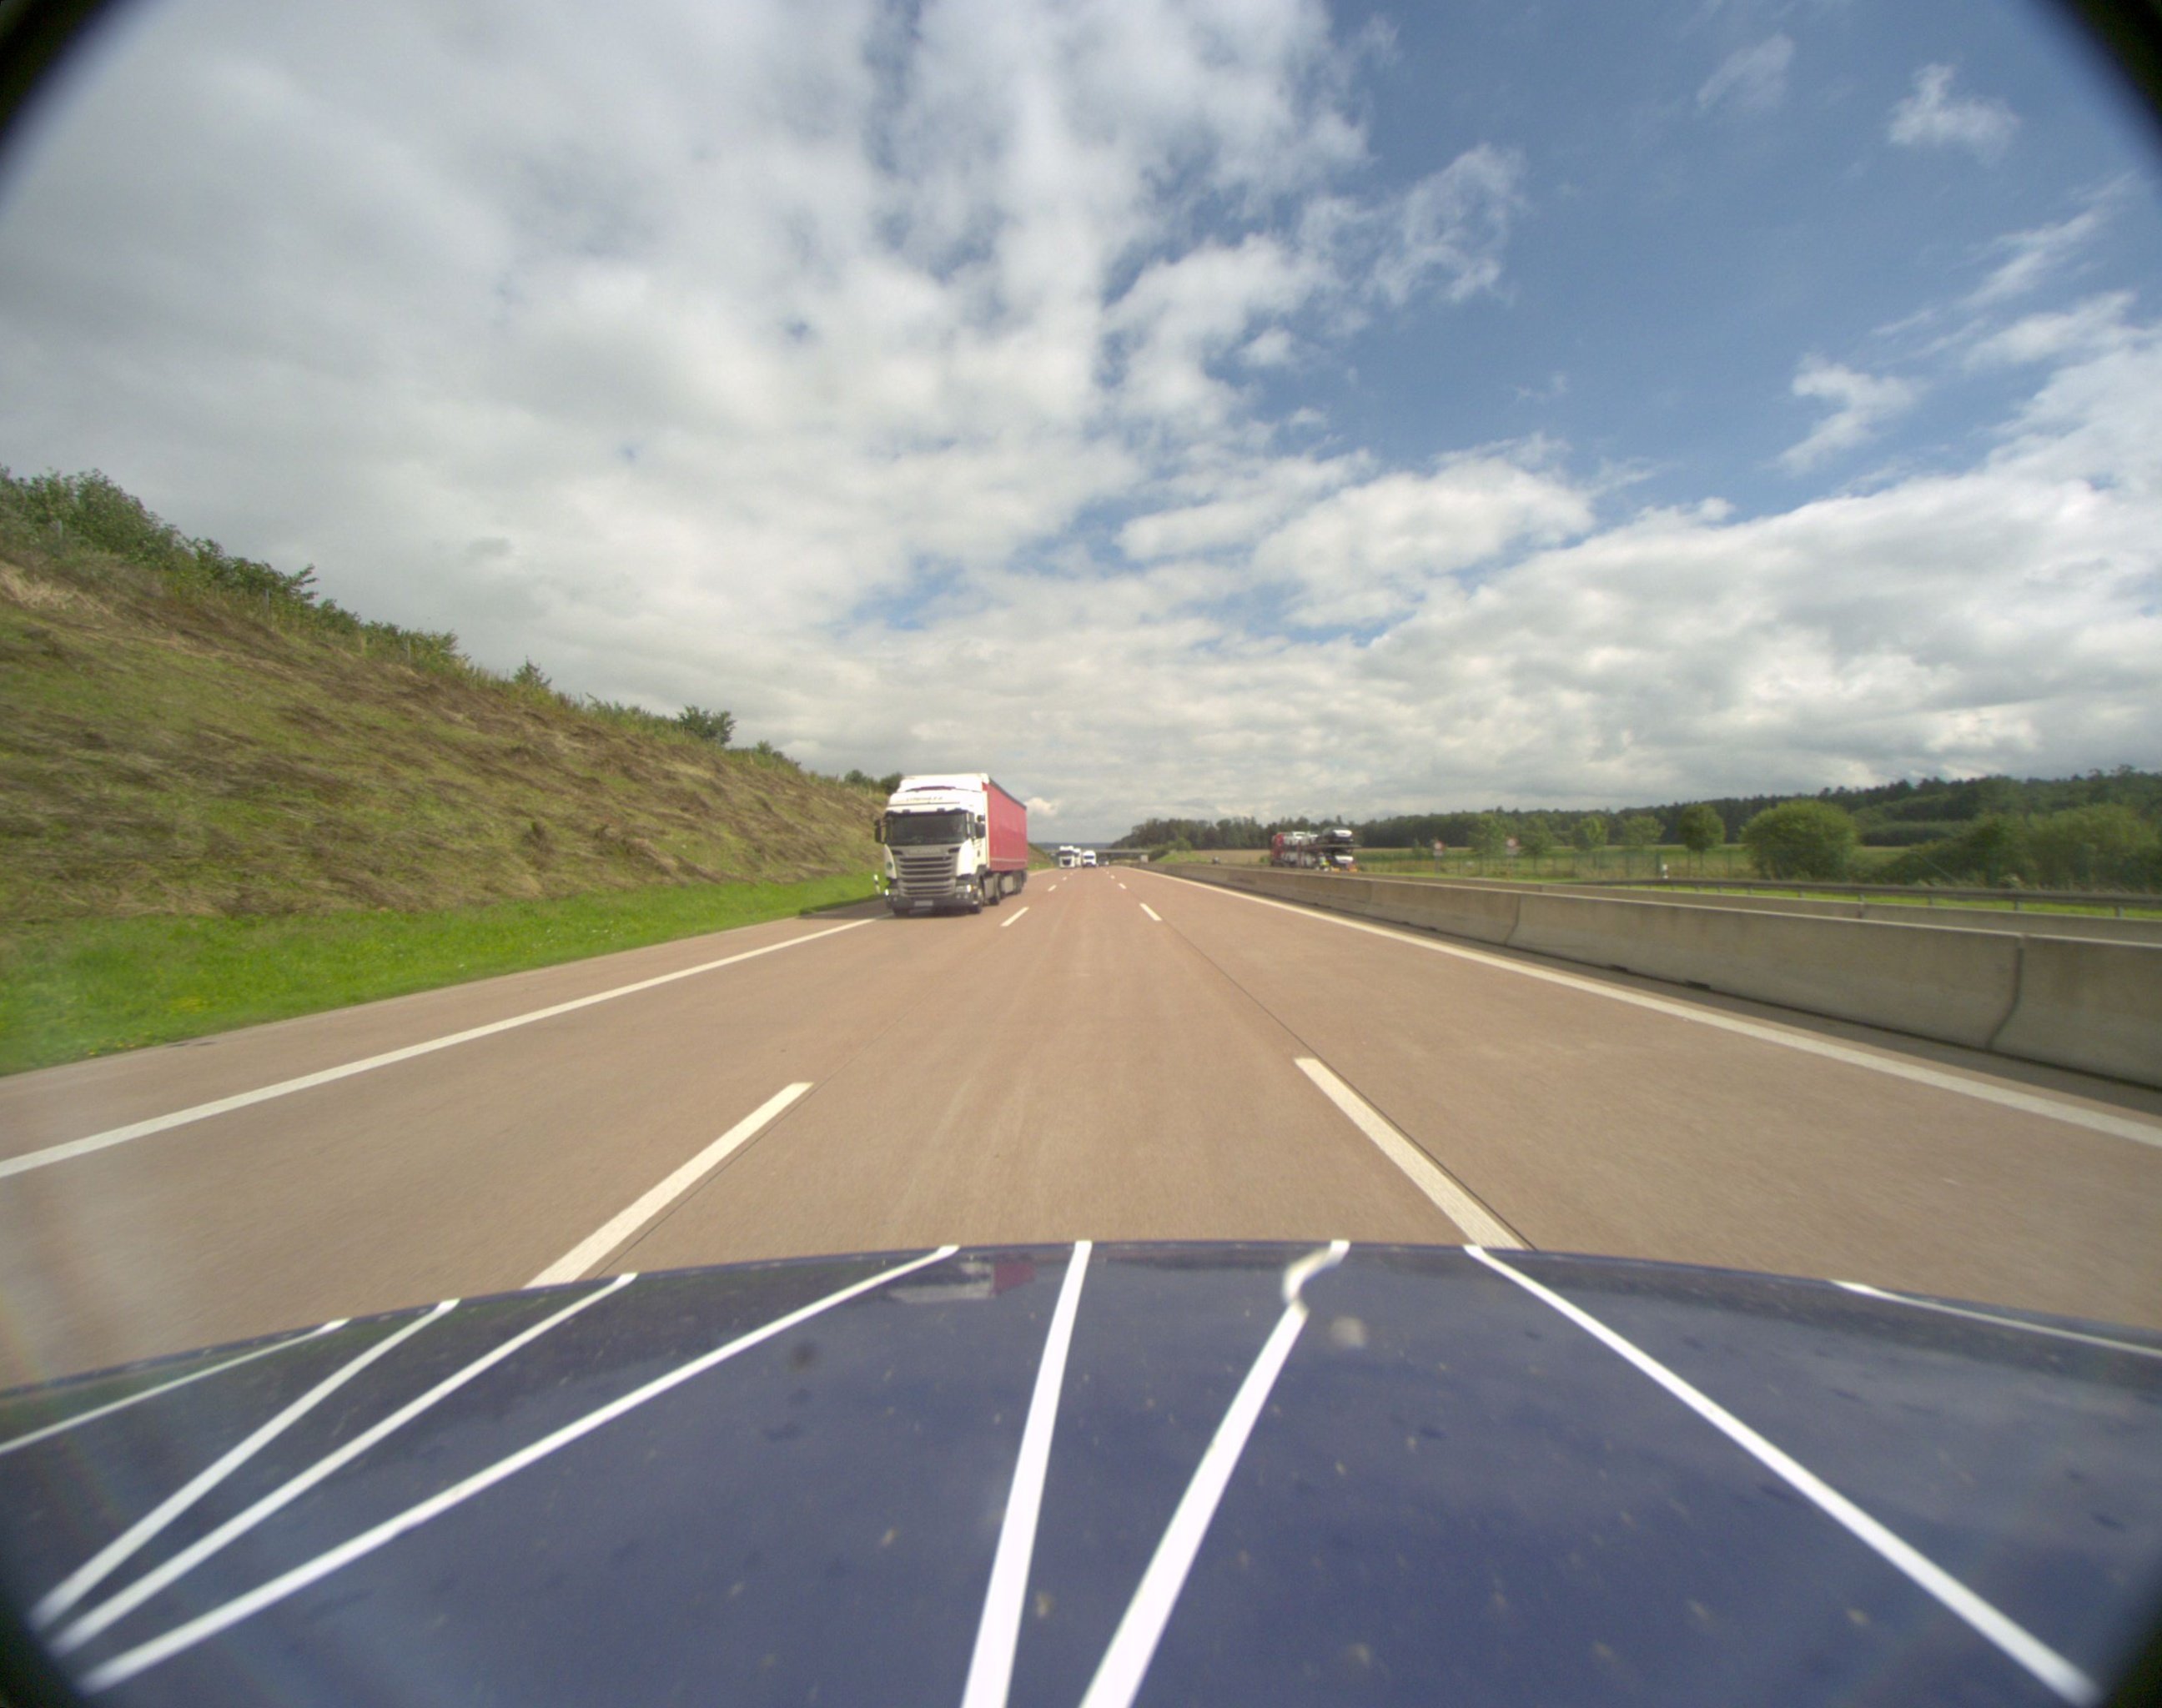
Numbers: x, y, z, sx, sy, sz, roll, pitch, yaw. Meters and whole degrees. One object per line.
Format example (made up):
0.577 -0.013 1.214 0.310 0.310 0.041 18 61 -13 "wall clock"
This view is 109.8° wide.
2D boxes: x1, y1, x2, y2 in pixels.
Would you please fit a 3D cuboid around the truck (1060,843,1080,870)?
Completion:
-1.859 0.345 132.441 3.107 4.334 11.256 -2 0 1 "truck"

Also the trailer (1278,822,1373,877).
20.307 -0.388 64.627 3.202 3.955 16.326 -2 0 2 "trailer"

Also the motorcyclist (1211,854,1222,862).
16.669 0.486 93.163 1.188 0.943 0.839 -2 0 1 "motorcyclist"

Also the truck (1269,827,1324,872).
20.582 -0.411 73.157 3.202 3.955 7.730 -2 0 2 "truck"

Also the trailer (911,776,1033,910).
-3.766 -0.351 29.844 2.679 4.069 12.789 -1 0 1 "trailer"

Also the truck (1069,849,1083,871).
-1.062 1.380 170.308 2.927 4.659 11.808 -2 0 1 "truck"

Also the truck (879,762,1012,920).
-3.860 -0.341 23.226 2.681 4.082 6.616 -1 0 1 "truck"

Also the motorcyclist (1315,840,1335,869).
15.920 0.051 49.660 1.011 1.851 0.744 -2 1 3 "motorcyclist"

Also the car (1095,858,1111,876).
4.224 2.453 145.261 2.773 3.260 6.392 -2 0 2 "car"

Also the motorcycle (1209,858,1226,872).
16.768 1.348 93.192 1.558 1.533 2.841 -2 0 2 "motorcycle"

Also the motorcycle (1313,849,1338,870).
15.938 0.347 49.631 0.929 1.296 2.342 -2 0 2 "motorcycle"

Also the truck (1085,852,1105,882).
2.050 1.859 115.445 2.681 4.334 11.808 -2 0 1 "truck"
